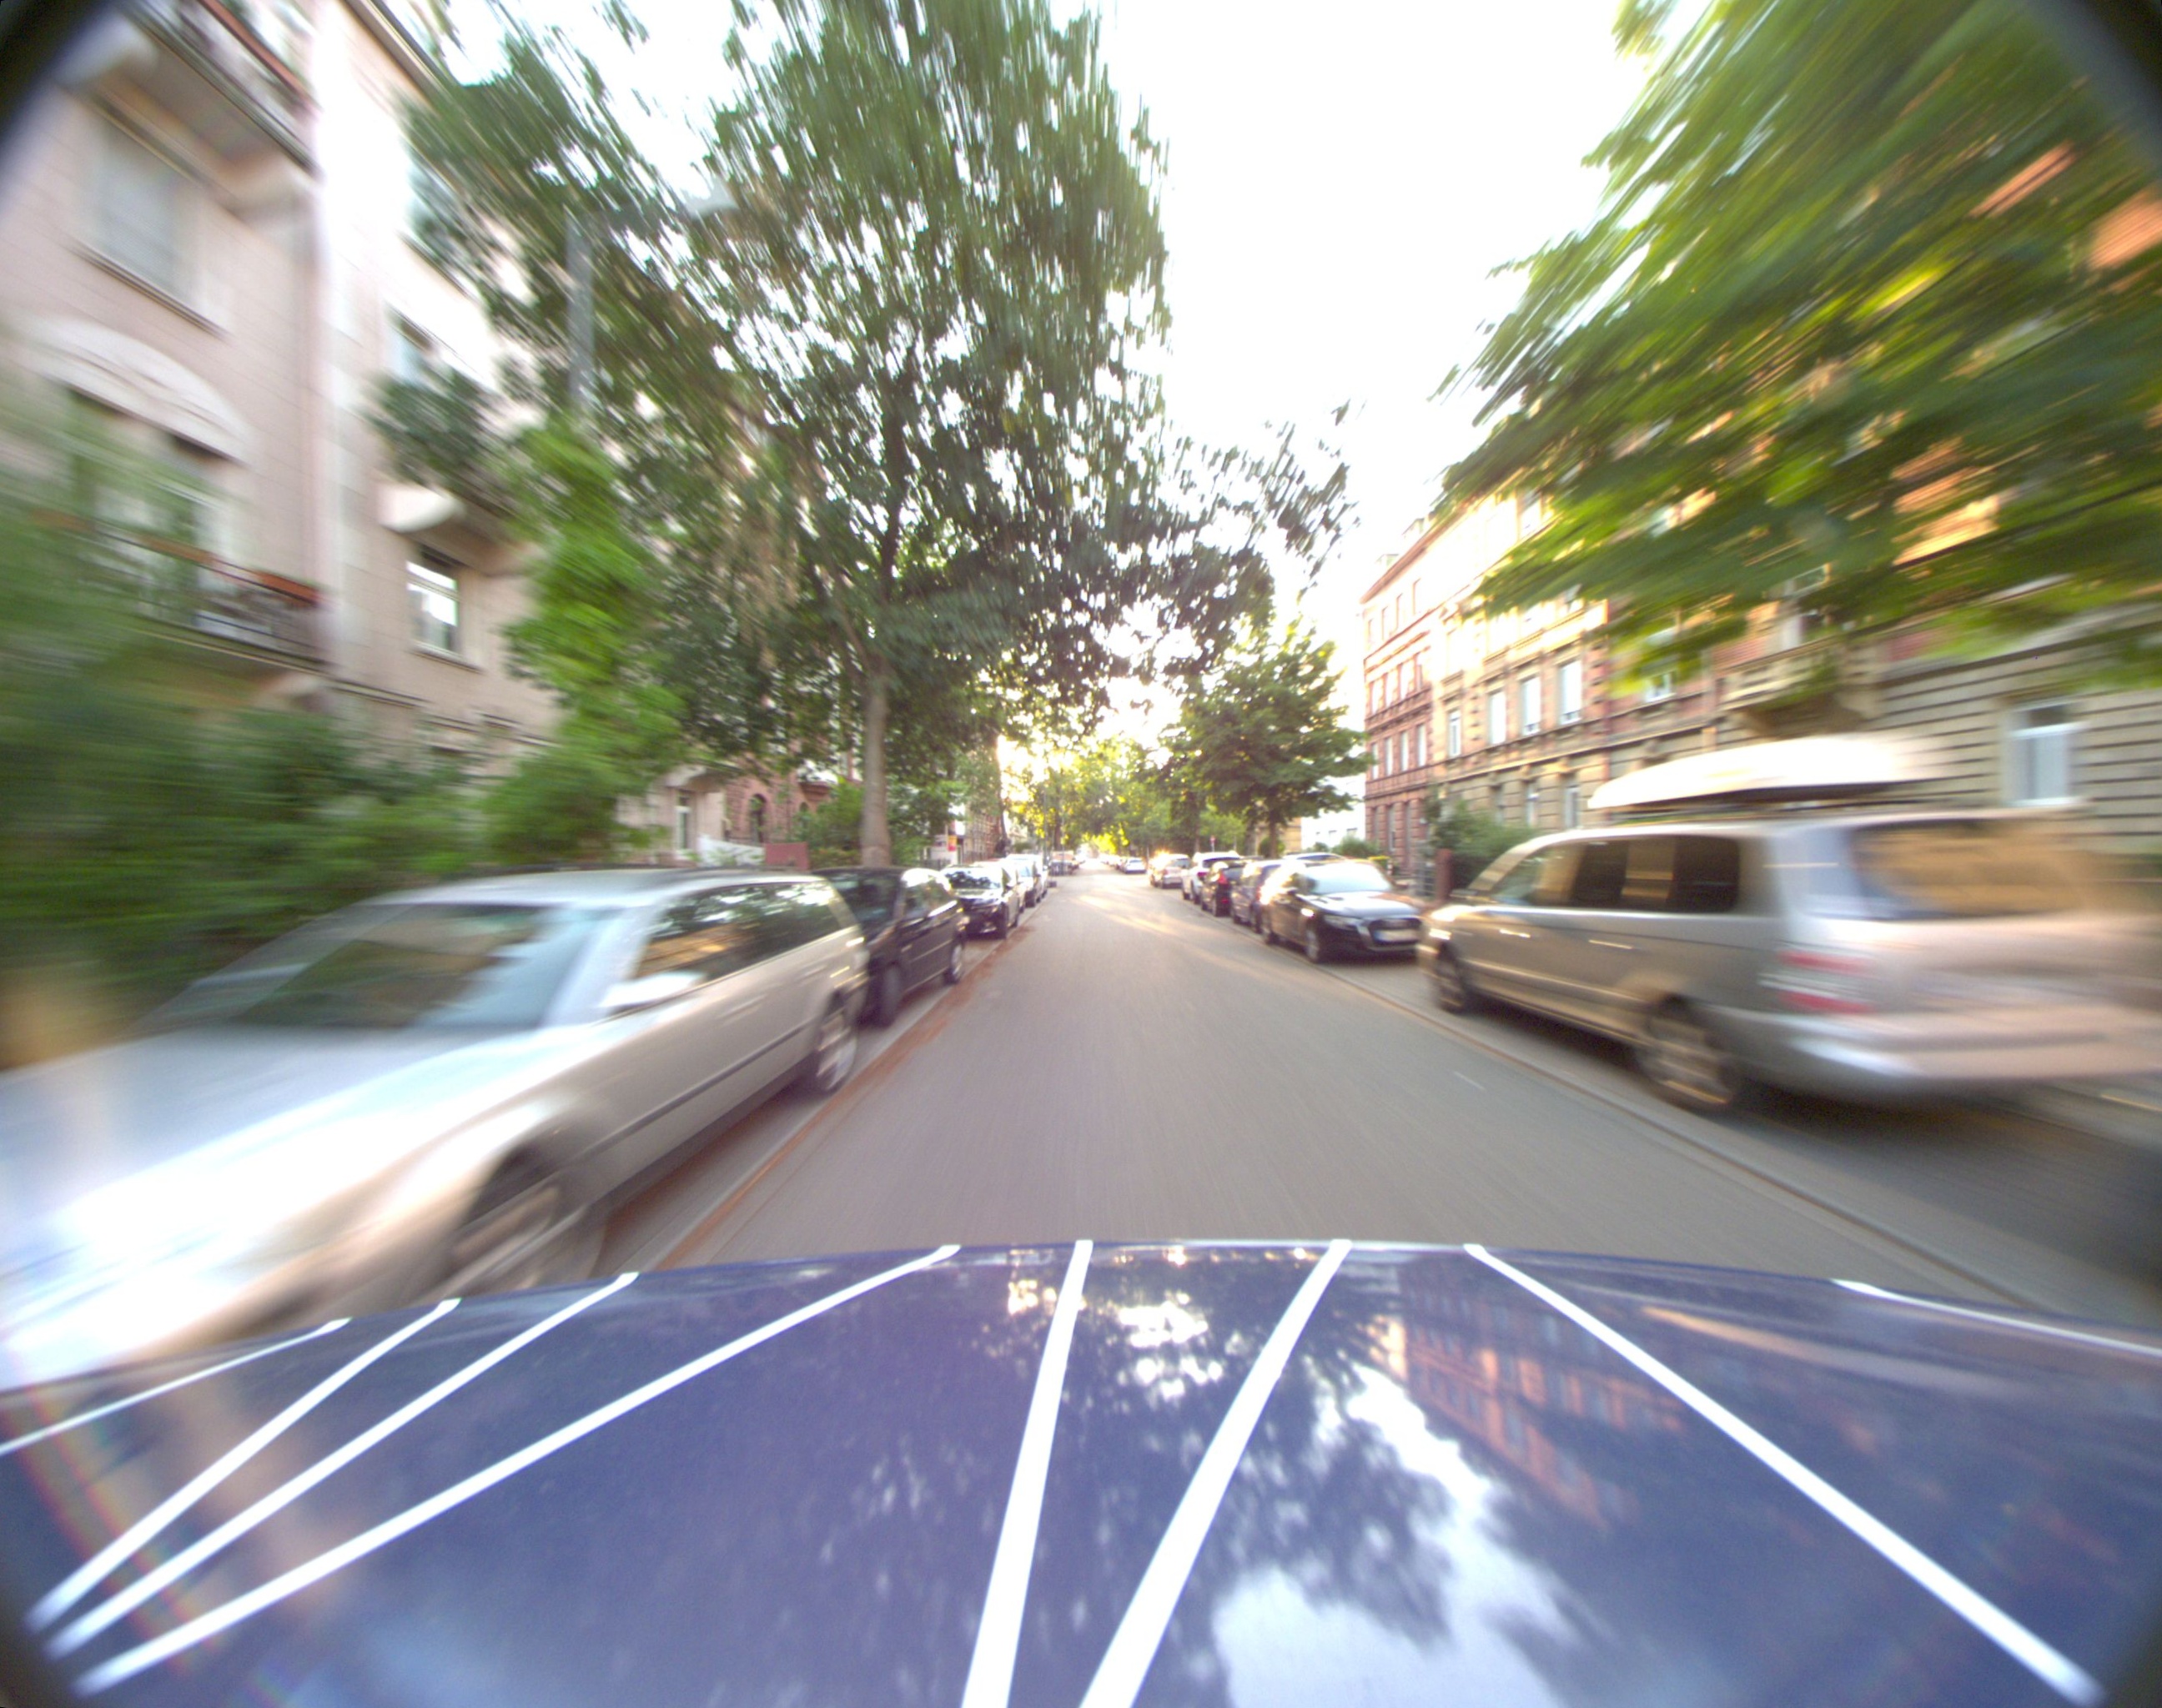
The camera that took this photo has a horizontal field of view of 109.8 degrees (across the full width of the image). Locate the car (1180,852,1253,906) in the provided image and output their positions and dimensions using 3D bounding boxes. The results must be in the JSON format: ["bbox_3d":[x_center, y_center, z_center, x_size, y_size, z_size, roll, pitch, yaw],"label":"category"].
[{"bbox_3d":[4.537,0.774,25.986,1.866,1.653,4.021,-2,0,2],"label":"car"}]

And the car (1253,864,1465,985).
[{"bbox_3d":[4.029,0.934,11.779,1.732,1.433,4.024,-2,0,-1],"label":"car"}]

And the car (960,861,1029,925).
[{"bbox_3d":[-2.305,1.006,21.046,1.479,1.498,3.928,-2,0,-1],"label":"car"}]

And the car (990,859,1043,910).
[{"bbox_3d":[-2.087,0.961,25.446,1.502,1.538,3.338,-2,0,-1],"label":"car"}]

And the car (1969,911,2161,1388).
[{"bbox_3d":[4.229,0.920,0.521,1.866,1.404,4.590,-2,0,0],"label":"car"}]

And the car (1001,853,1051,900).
[{"bbox_3d":[-2.189,0.857,31.065,1.737,1.692,4.168,-2,0,-1],"label":"car"}]

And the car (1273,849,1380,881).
[{"bbox_3d":[11.268,0.493,35.052,4.412,1.333,1.626,-2,1,2],"label":"car"}]

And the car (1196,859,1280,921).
[{"bbox_3d":[4.227,0.919,20.949,1.682,1.490,3.626,-2,0,3],"label":"car"}]

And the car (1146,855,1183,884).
[{"bbox_3d":[4.576,0.822,41.903,1.504,1.484,3.987,-2,0,-1],"label":"car"}]

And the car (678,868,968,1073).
[{"bbox_3d":[-2.371,0.987,7.968,1.590,1.516,3.603,-2,0,3],"label":"car"}]

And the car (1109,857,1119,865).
[{"bbox_3d":[6.479,1.408,151.341,1.840,1.484,3.641,-2,0,0],"label":"car"}]

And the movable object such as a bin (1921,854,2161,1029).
[{"bbox_3d":[9.077,0.712,6.981,0.948,1.379,1.551,-2,1,-3],"label":"movable object such as a bin"}]

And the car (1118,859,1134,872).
[{"bbox_3d":[5.604,1.403,94.895,1.840,1.484,3.641,-2,0,0],"label":"car"}]

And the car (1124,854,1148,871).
[{"bbox_3d":[5.103,0.781,71.220,1.953,1.484,3.738,-2,0,0],"label":"car"}]

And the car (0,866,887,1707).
[{"bbox_3d":[-2.534,0.933,3.471,1.760,1.573,4.842,-2,0,3],"label":"car"}]

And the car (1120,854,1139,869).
[{"bbox_3d":[5.276,0.772,82.595,1.840,1.484,3.641,-2,0,0],"label":"car"}]

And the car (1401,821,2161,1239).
[{"bbox_3d":[4.283,0.741,5.589,1.866,1.769,4.622,-2,0,0],"label":"car"}]

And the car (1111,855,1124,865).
[{"bbox_3d":[5.834,0.874,121.260,1.840,1.484,3.641,-2,0,0],"label":"car"}]

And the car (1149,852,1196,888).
[{"bbox_3d":[4.478,0.749,37.540,1.677,1.627,3.940,-2,0,-2],"label":"car"}]

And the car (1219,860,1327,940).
[{"bbox_3d":[4.053,0.918,16.492,1.441,1.485,3.298,-2,0,-1],"label":"car"}]

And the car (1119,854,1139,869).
[{"bbox_3d":[4.844,0.751,76.864,1.840,1.484,3.641,-2,0,0],"label":"car"}]

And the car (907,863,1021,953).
[{"bbox_3d":[-2.278,1.006,15.831,1.737,1.498,4.163,-2,0,-1],"label":"car"}]
